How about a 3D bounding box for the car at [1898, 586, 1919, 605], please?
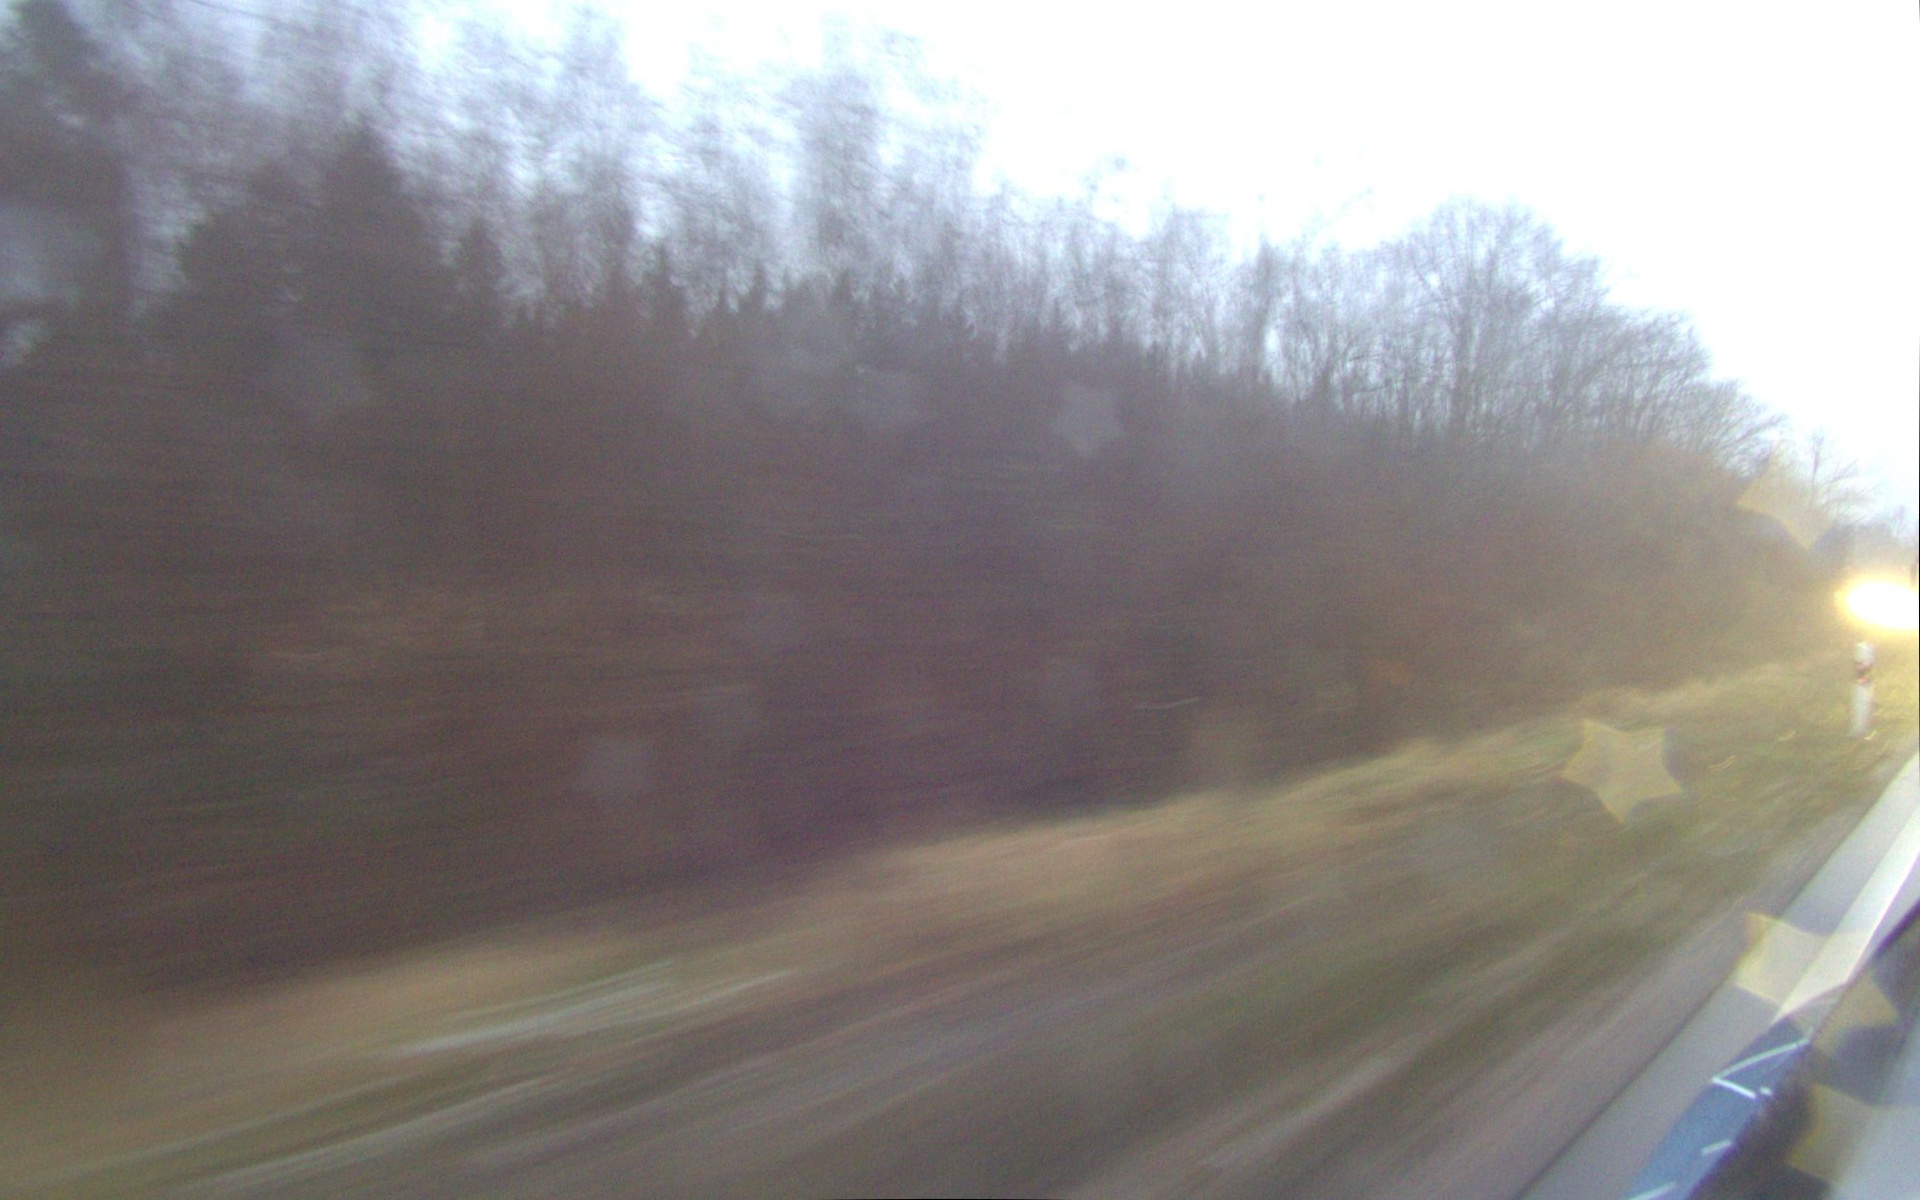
[{"bbox_3d":[94.447,-0.479,100.681,1.697,1.752,3.938,0,2,43],"label":"car"}]
